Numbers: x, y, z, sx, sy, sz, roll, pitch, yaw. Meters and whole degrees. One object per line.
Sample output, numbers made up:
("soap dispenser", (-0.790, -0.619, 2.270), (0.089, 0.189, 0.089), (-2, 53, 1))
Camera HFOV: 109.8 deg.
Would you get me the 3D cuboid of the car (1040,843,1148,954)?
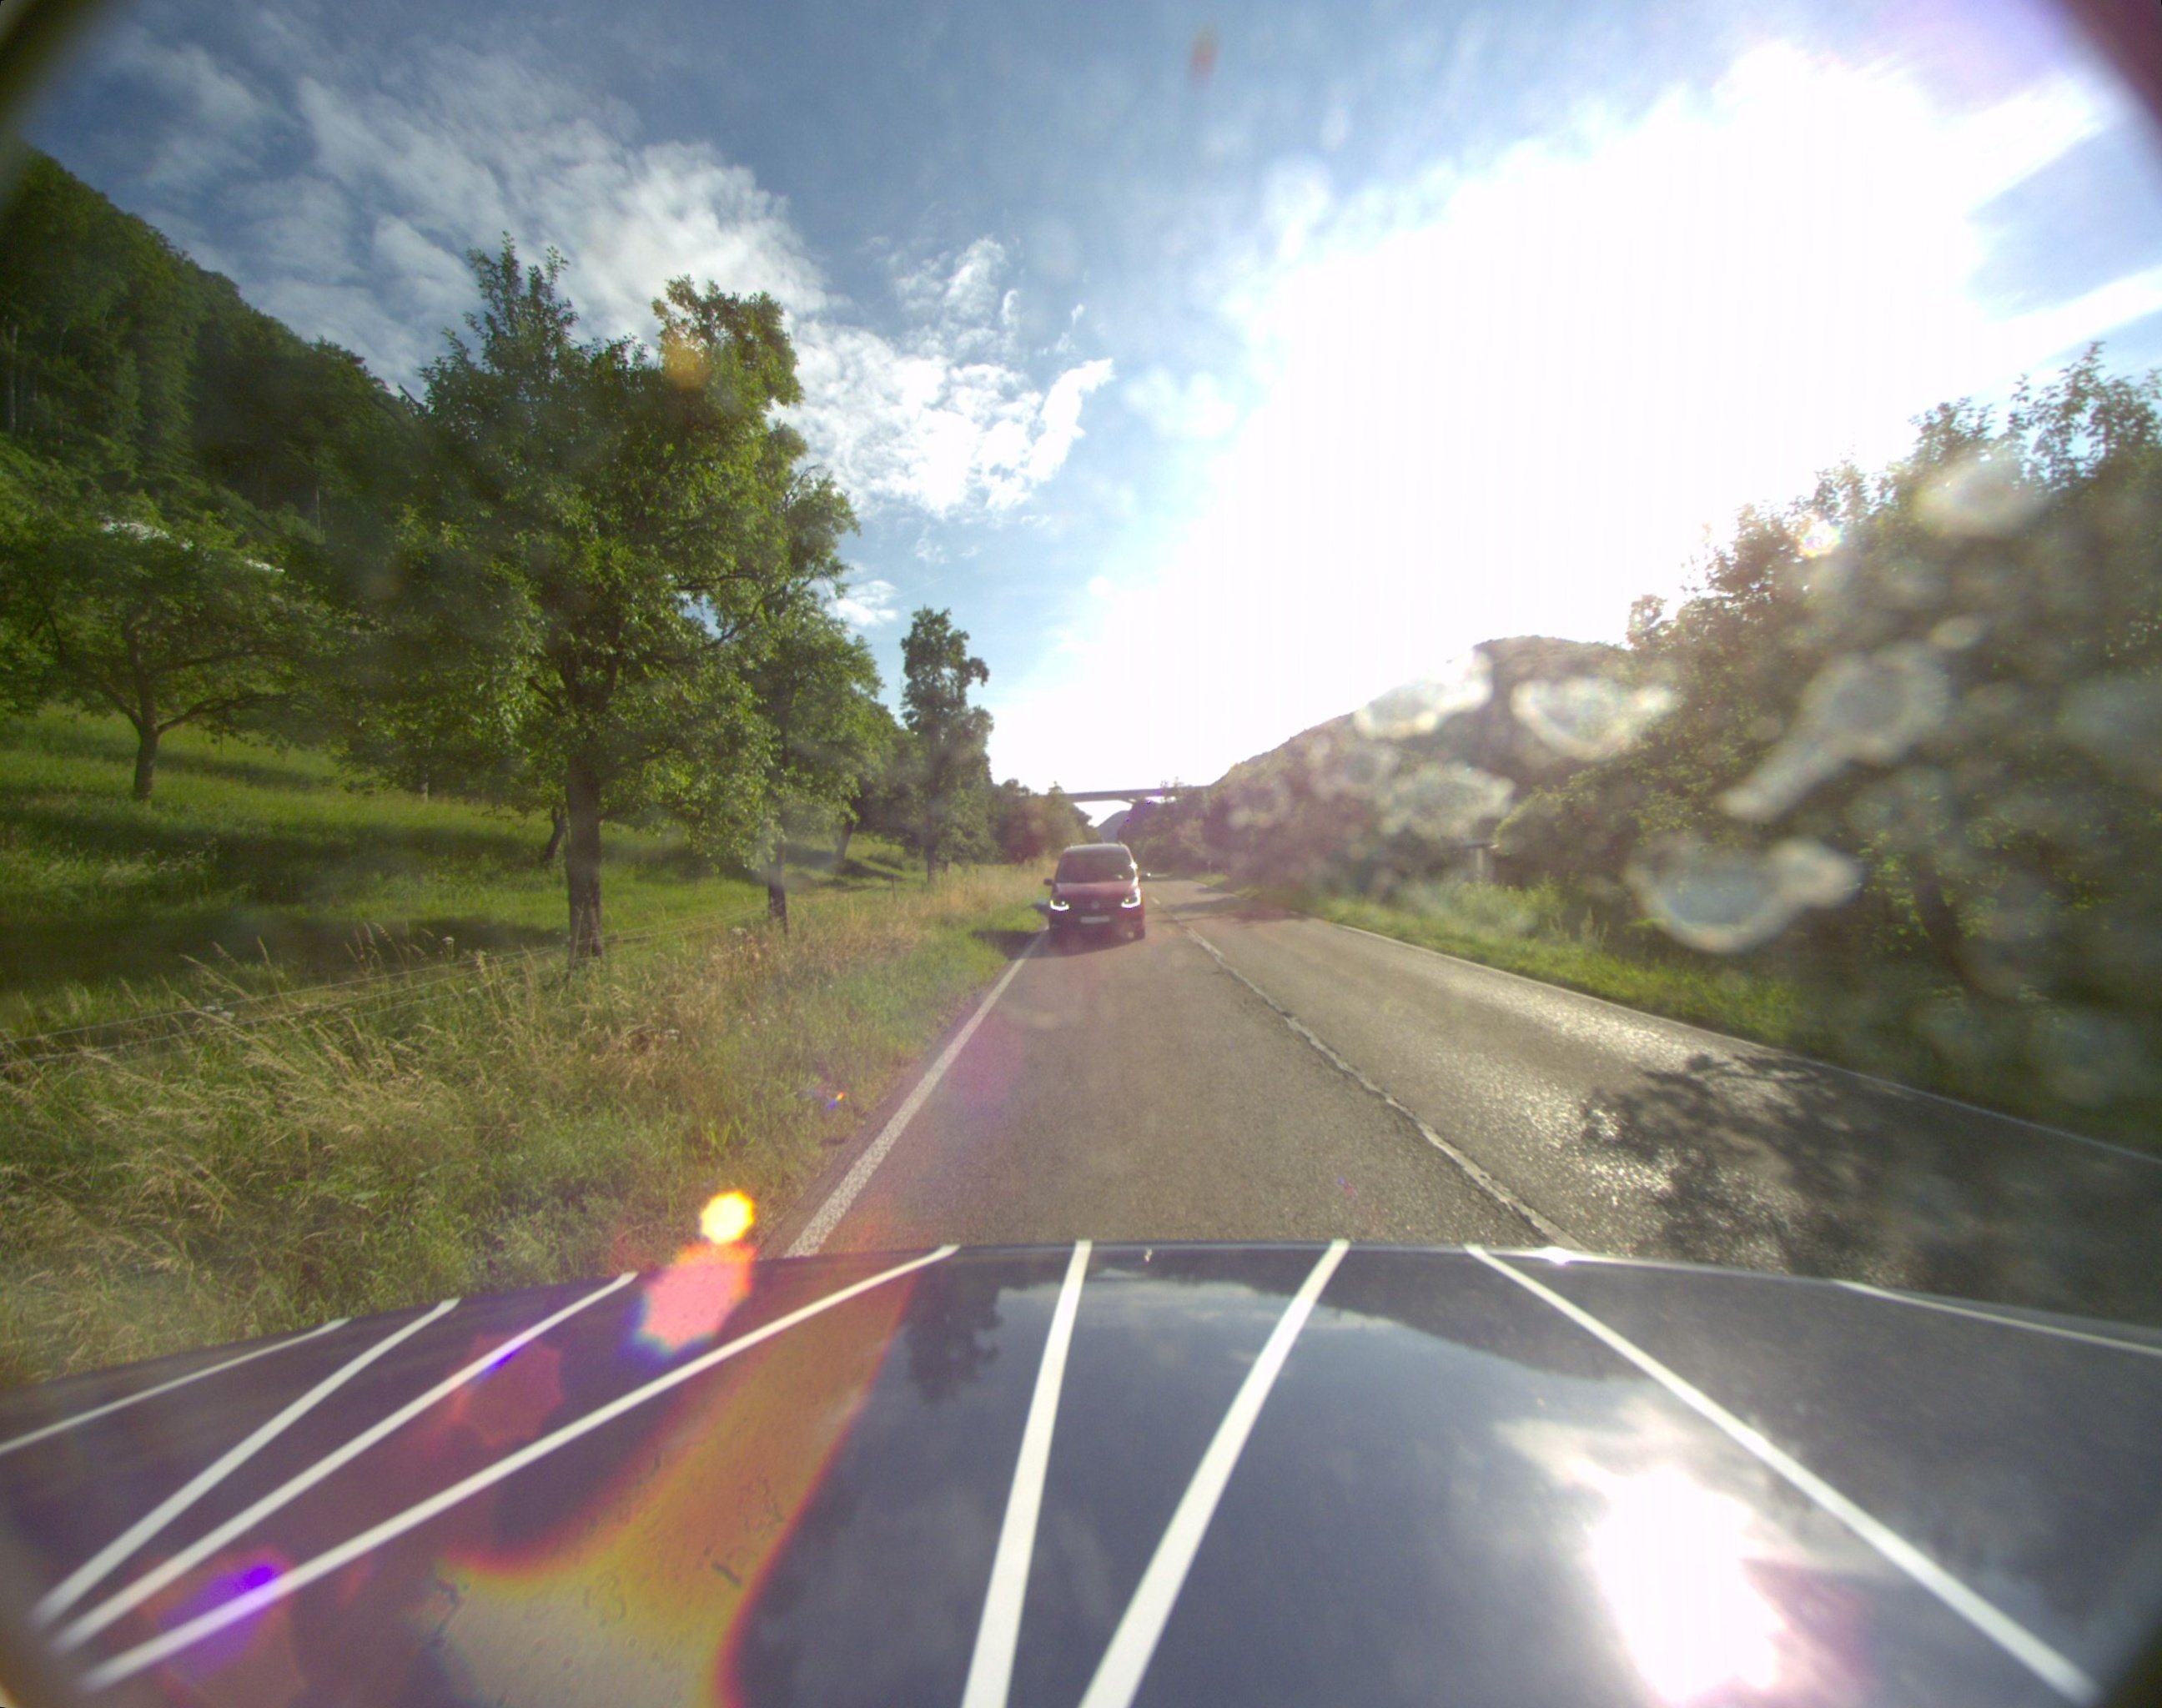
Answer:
("car", (0.214, 0.768, 14.956), (1.741, 1.803, 4.000), (-3, 0, 0))
